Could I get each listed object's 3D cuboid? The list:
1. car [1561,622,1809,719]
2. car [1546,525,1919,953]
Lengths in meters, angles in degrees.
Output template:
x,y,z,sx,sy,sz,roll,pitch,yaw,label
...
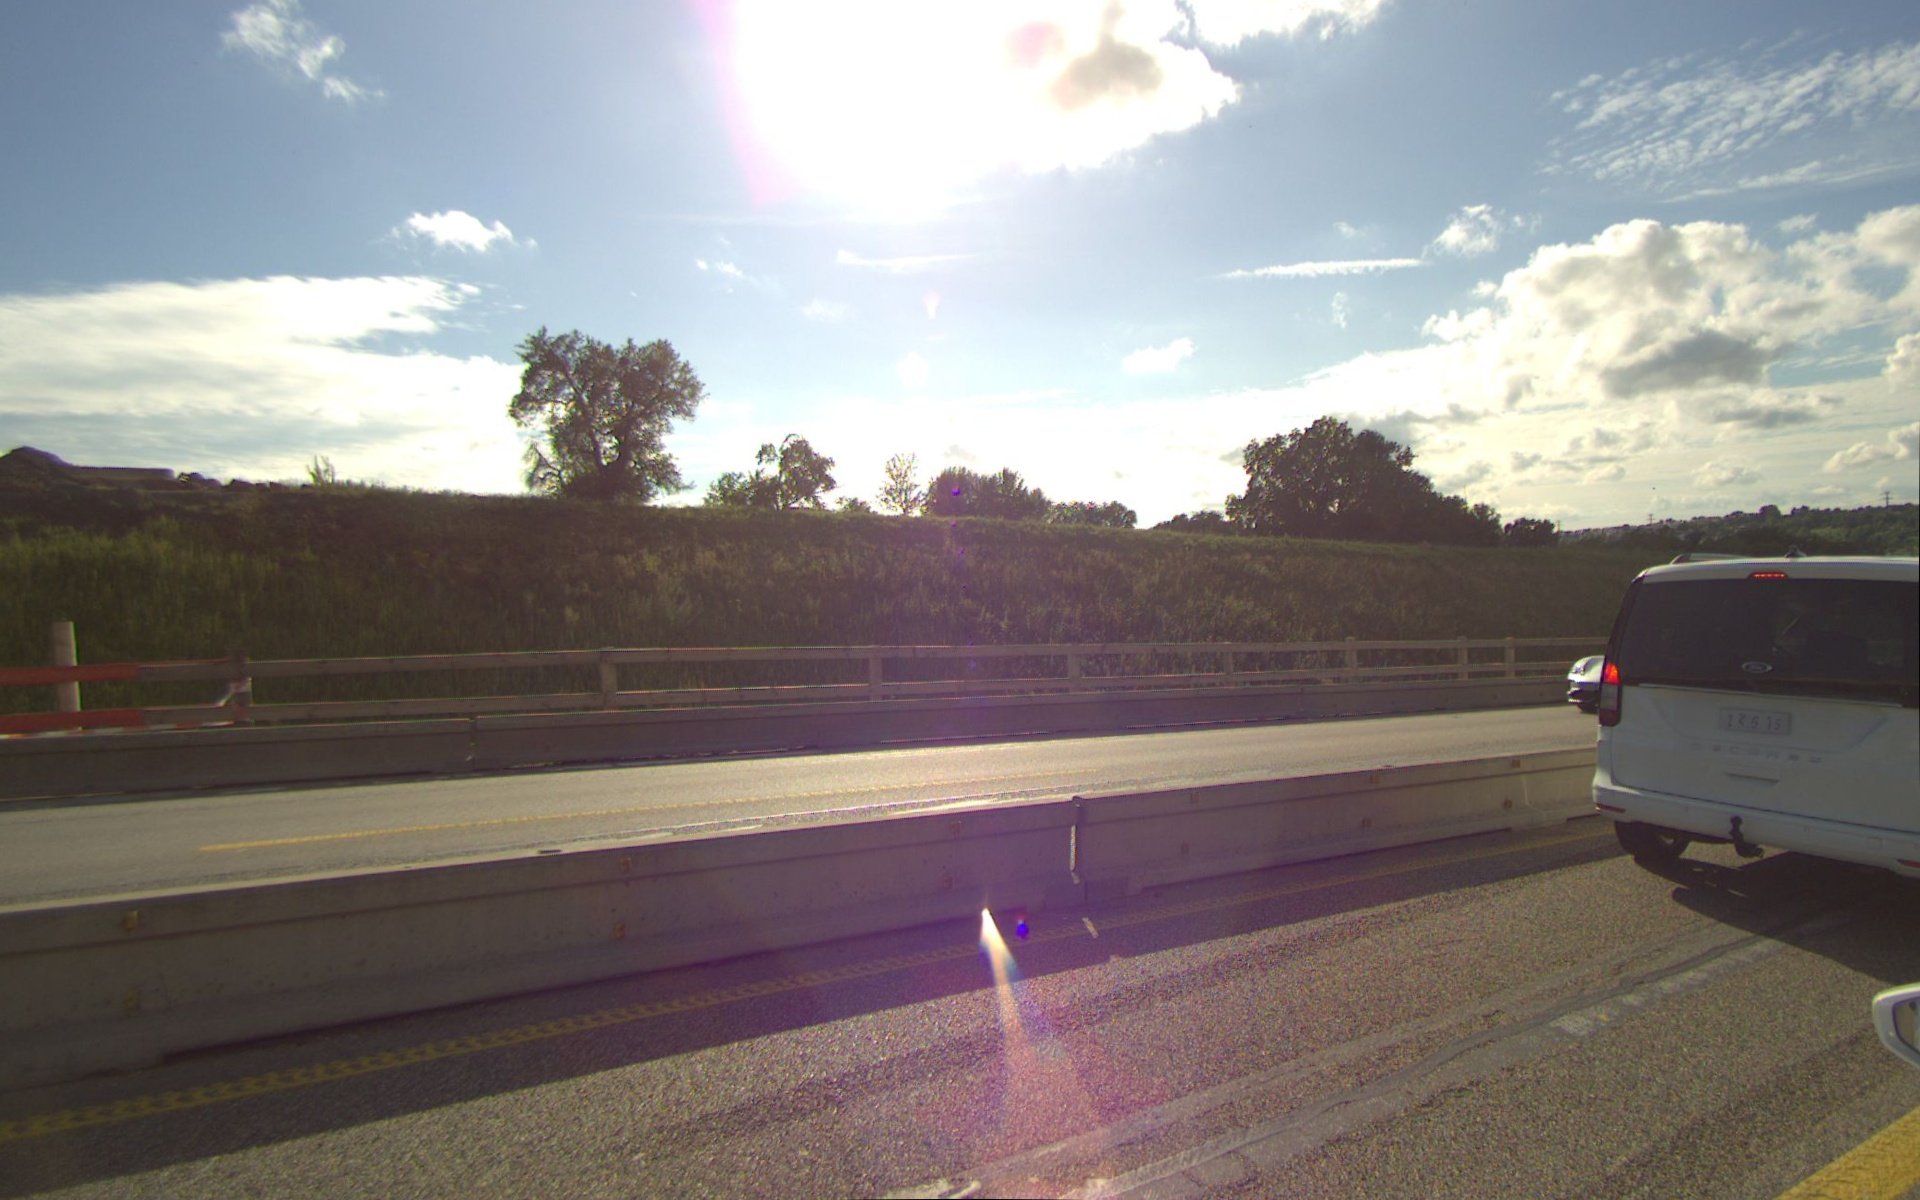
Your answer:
x,y,z,sx,sy,sz,roll,pitch,yaw,label
12.242,1.151,16.894,4.575,1.443,1.725,2,-4,-31,car
5.726,0.611,6.058,4.402,1.848,1.814,1,1,-30,car
